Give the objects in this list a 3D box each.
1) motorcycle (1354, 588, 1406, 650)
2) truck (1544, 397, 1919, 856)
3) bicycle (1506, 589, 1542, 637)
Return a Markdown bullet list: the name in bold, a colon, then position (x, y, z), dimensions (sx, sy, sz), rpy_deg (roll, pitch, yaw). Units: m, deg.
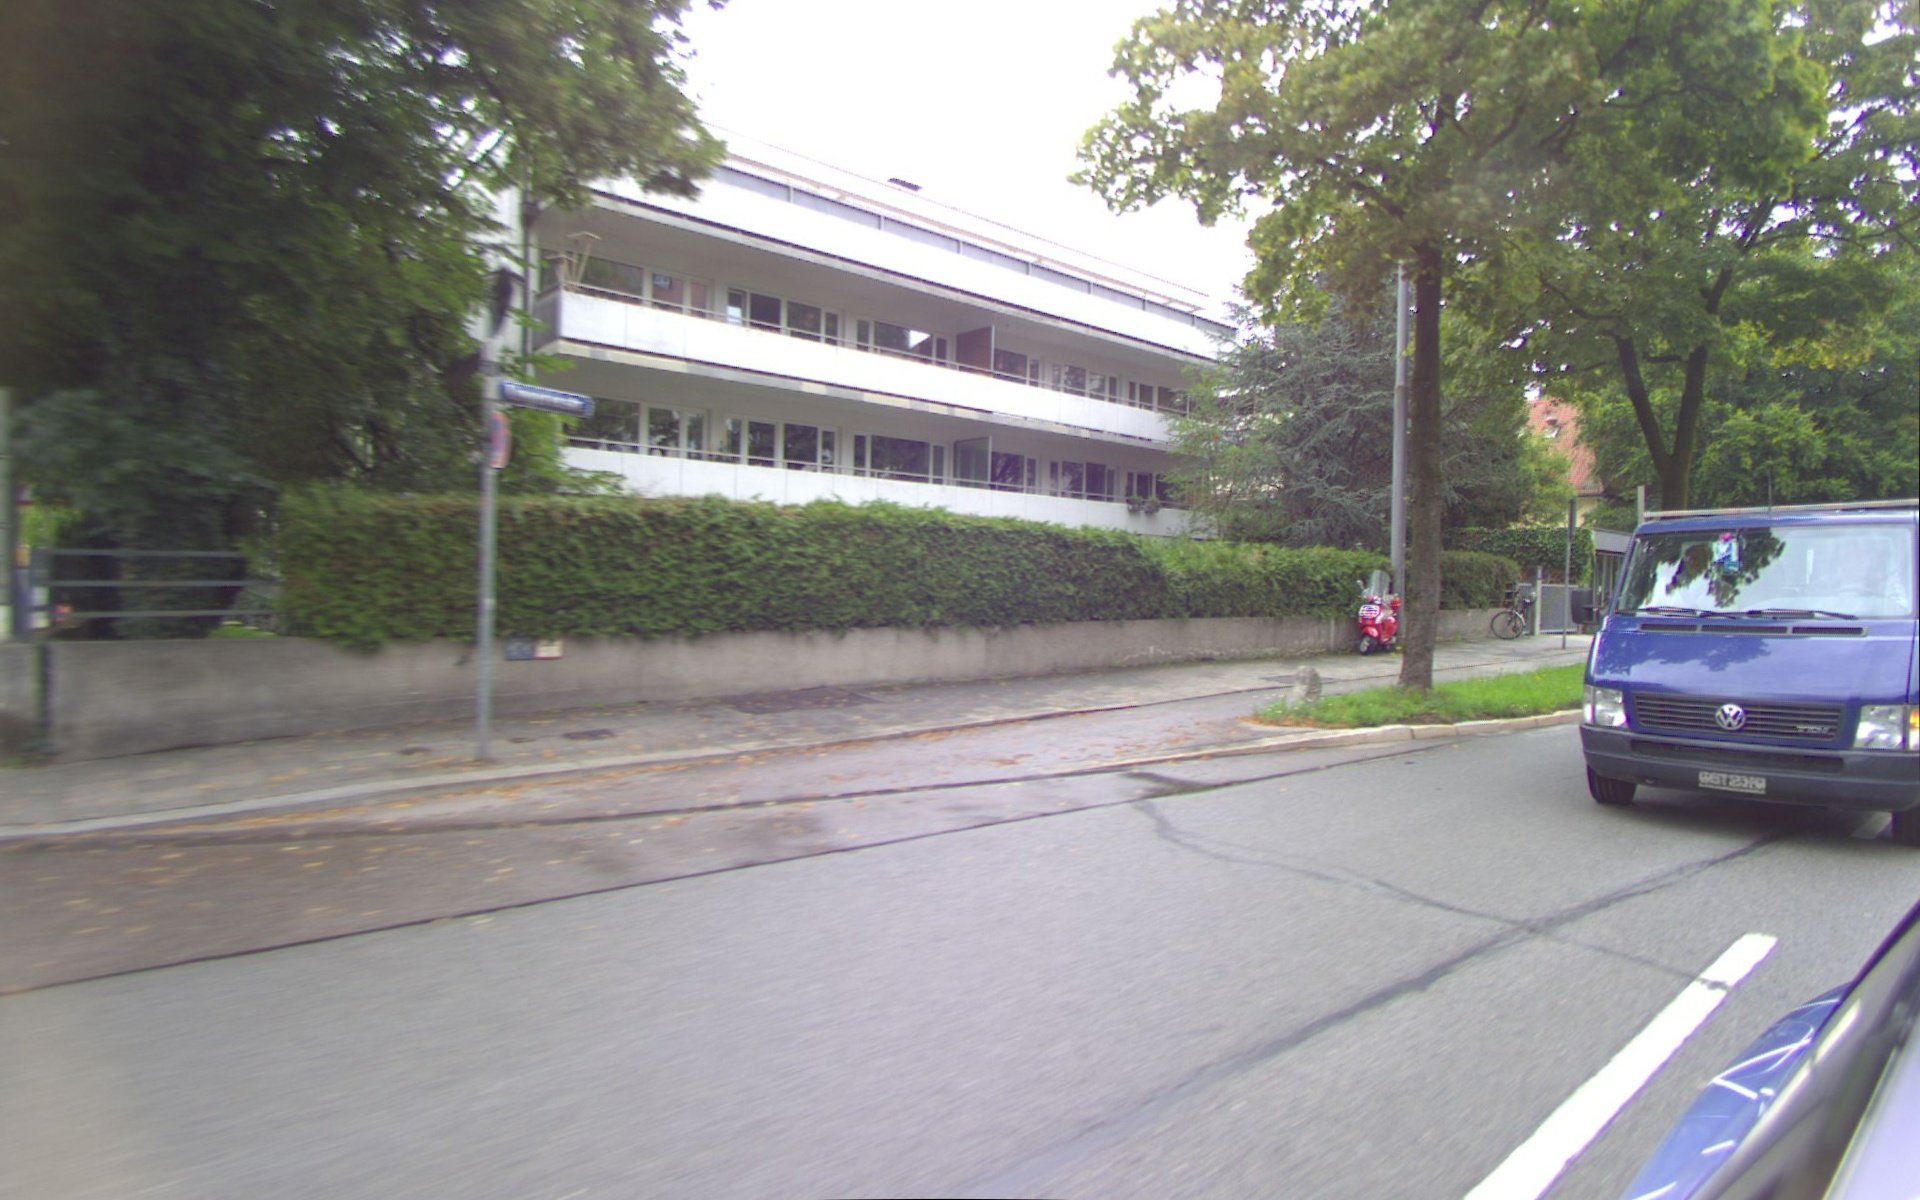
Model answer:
- **motorcycle**: position (8.241, 0.358, 19.830), dimensions (0.494, 1.156, 1.610), rpy_deg (2, 1, 39)
- **truck**: position (6.626, 0.117, 7.886), dimensions (5.060, 2.520, 1.997), rpy_deg (0, 1, -41)
- **bicycle**: position (13.789, 0.303, 24.734), dimensions (0.488, 1.113, 1.610), rpy_deg (2, 1, 39)
